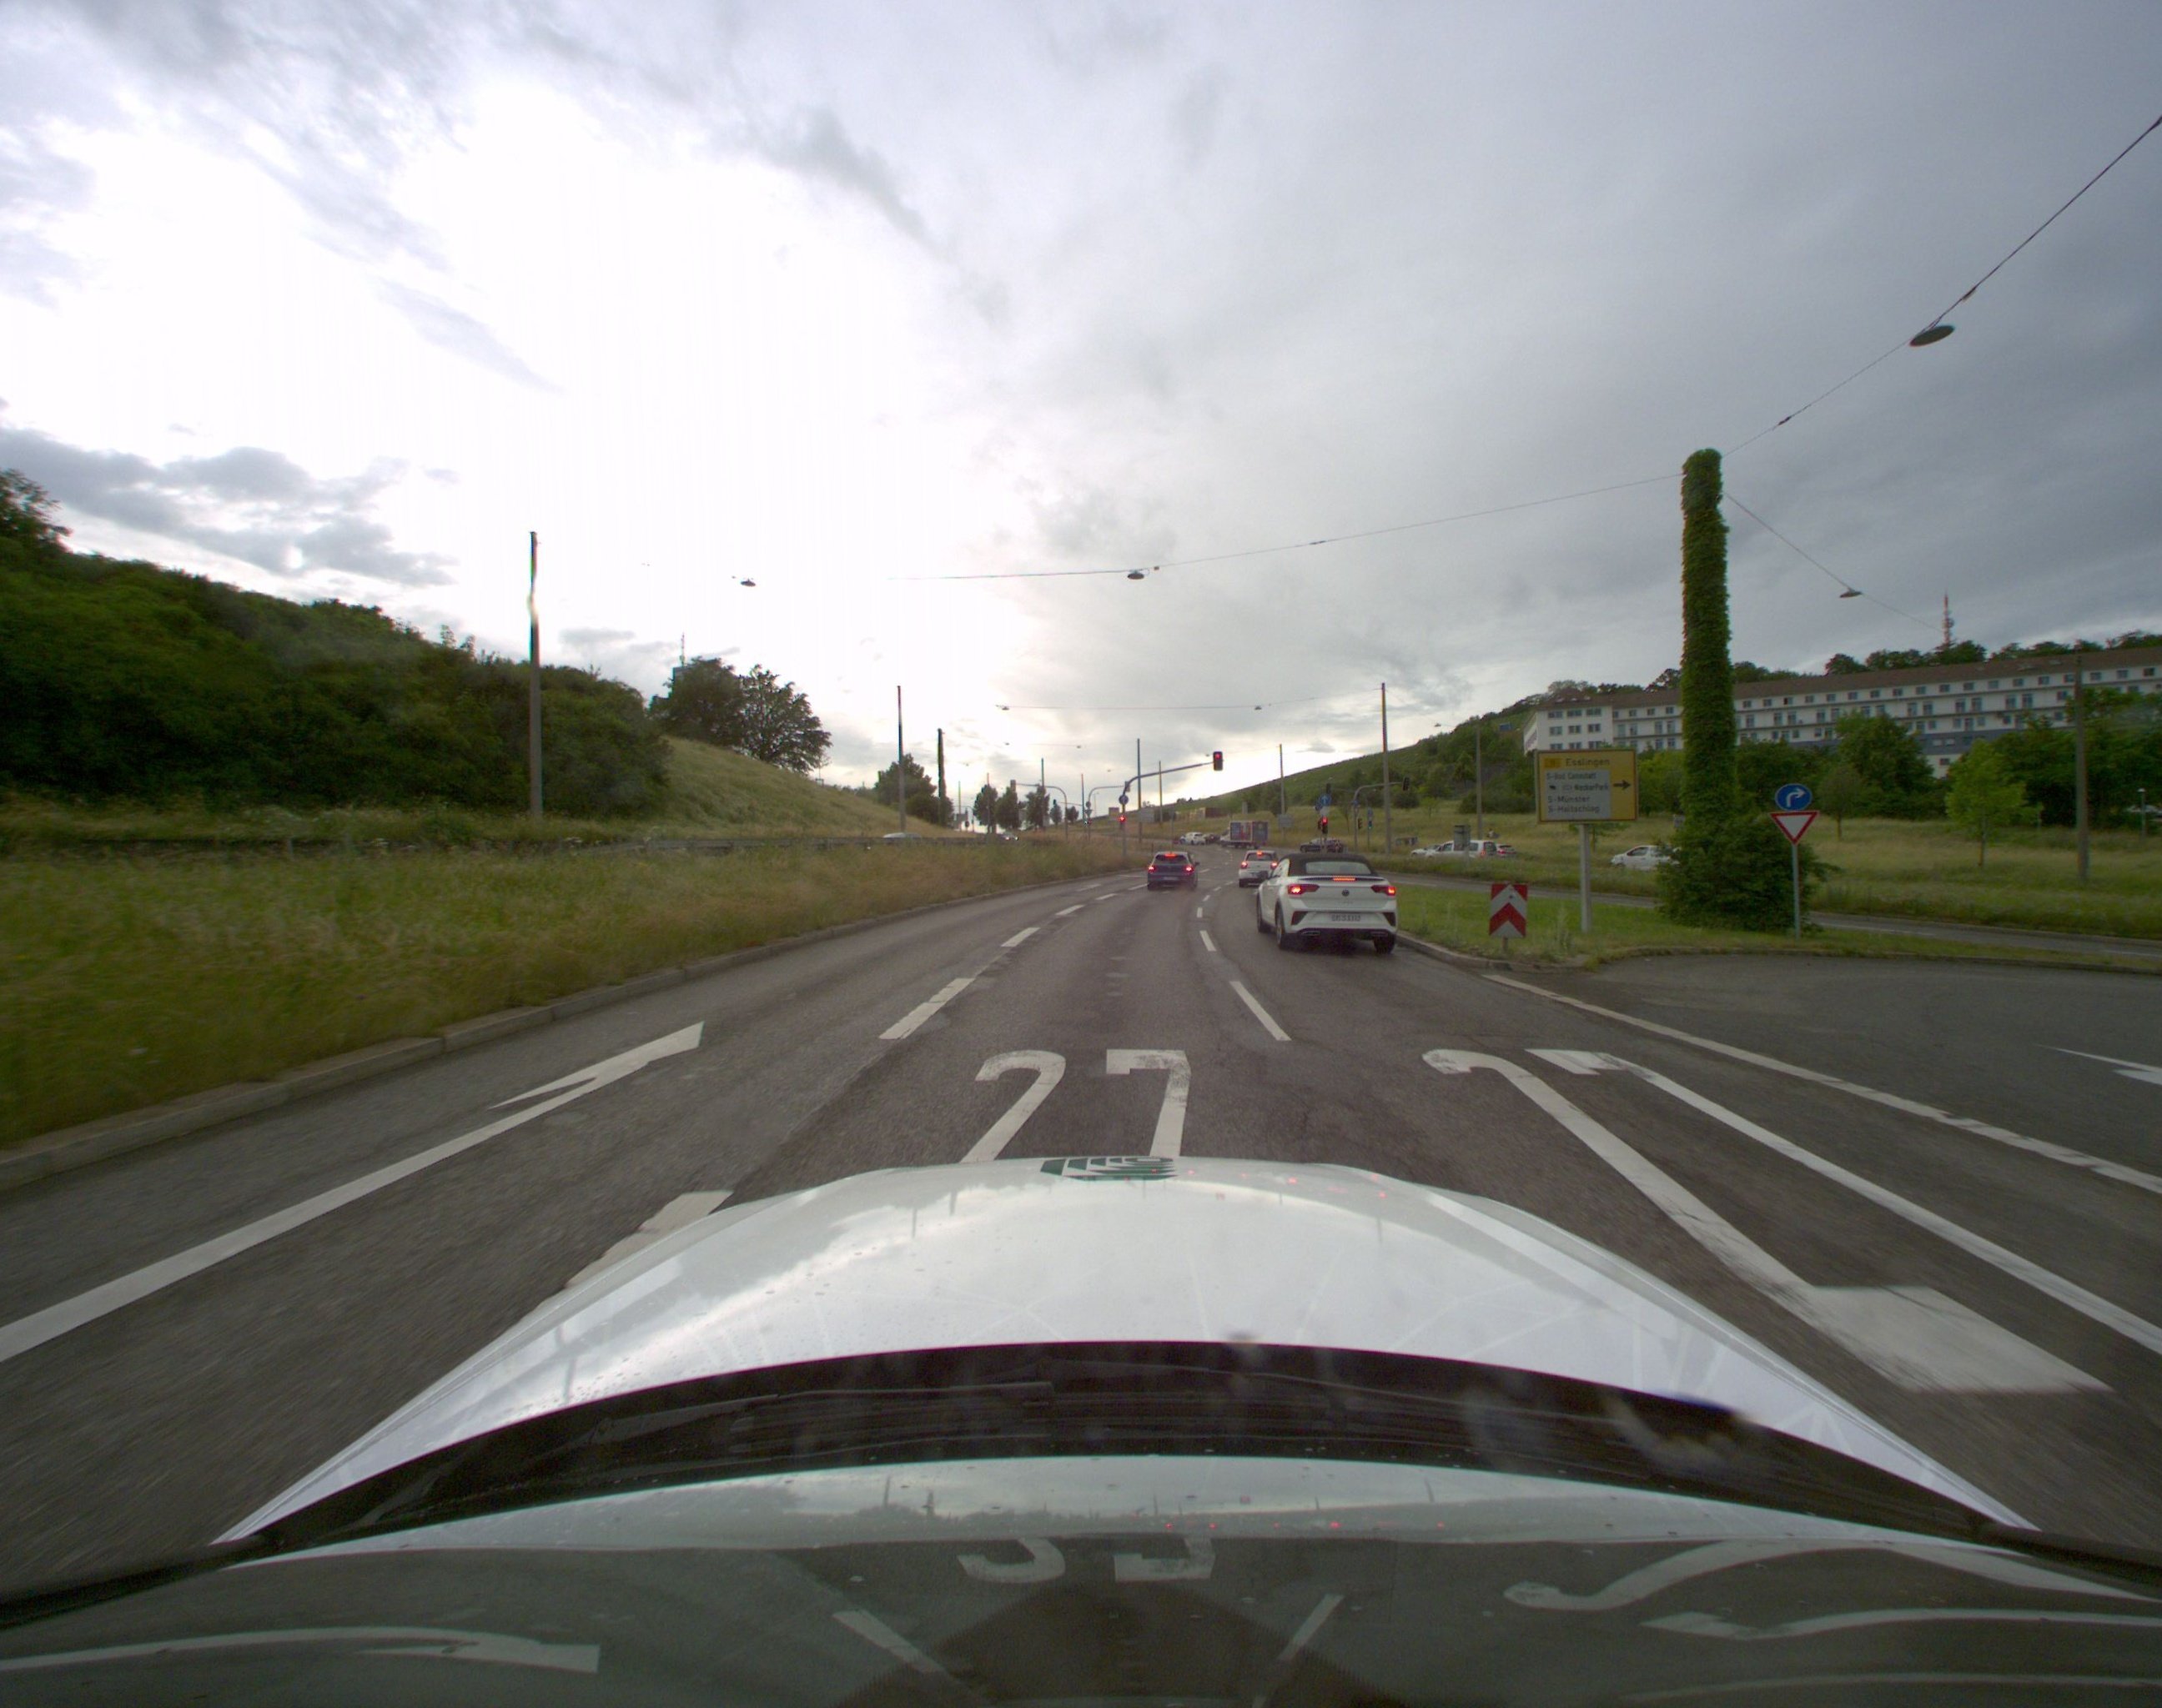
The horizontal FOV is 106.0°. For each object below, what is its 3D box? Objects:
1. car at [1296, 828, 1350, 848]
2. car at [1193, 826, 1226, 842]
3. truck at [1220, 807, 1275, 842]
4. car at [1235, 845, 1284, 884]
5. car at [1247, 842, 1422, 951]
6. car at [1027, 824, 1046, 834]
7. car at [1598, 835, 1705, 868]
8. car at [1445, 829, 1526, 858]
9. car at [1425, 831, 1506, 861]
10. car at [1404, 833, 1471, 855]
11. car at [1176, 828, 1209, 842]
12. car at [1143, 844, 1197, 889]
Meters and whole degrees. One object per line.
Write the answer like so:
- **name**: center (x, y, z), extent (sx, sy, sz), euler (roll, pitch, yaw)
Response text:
- **car**: center (22.381, -1.489, 75.490), extent (2.008, 1.711, 4.516), euler (-4, 4, -33)
- **car**: center (15.913, -2.494, 101.188), extent (2.002, 1.711, 4.529), euler (-3, 4, -23)
- **truck**: center (17.883, -3.212, 87.710), extent (2.859, 3.526, 6.191), euler (-3, 4, -21)
- **car**: center (7.697, 0.412, 34.814), extent (1.761, 1.519, 3.741), euler (1, 1, 16)
- **car**: center (4.161, 0.599, 14.084), extent (1.987, 1.578, 4.130), euler (1, 1, 4)
- **car**: center (-8.530, -4.707, 155.636), extent (2.002, 1.711, 4.528), euler (-3, 2, -23)
- **car**: center (33.744, -0.193, 48.310), extent (2.004, 1.693, 4.855), euler (-1, 3, -26)
- **car**: center (27.235, -0.734, 54.971), extent (2.005, 1.711, 4.624), euler (-4, 4, -28)
- **car**: center (25.018, -0.562, 53.151), extent (2.005, 1.711, 4.523), euler (-4, 4, -28)
- **car**: center (27.273, -0.763, 62.520), extent (2.003, 1.605, 4.526), euler (-2, 2, -25)
- **car**: center (13.452, -2.269, 98.378), extent (2.000, 1.500, 4.534), euler (-3, 4, -20)
- **car**: center (3.469, 0.461, 31.947), extent (1.917, 1.599, 4.068), euler (-1, 0, 5)
